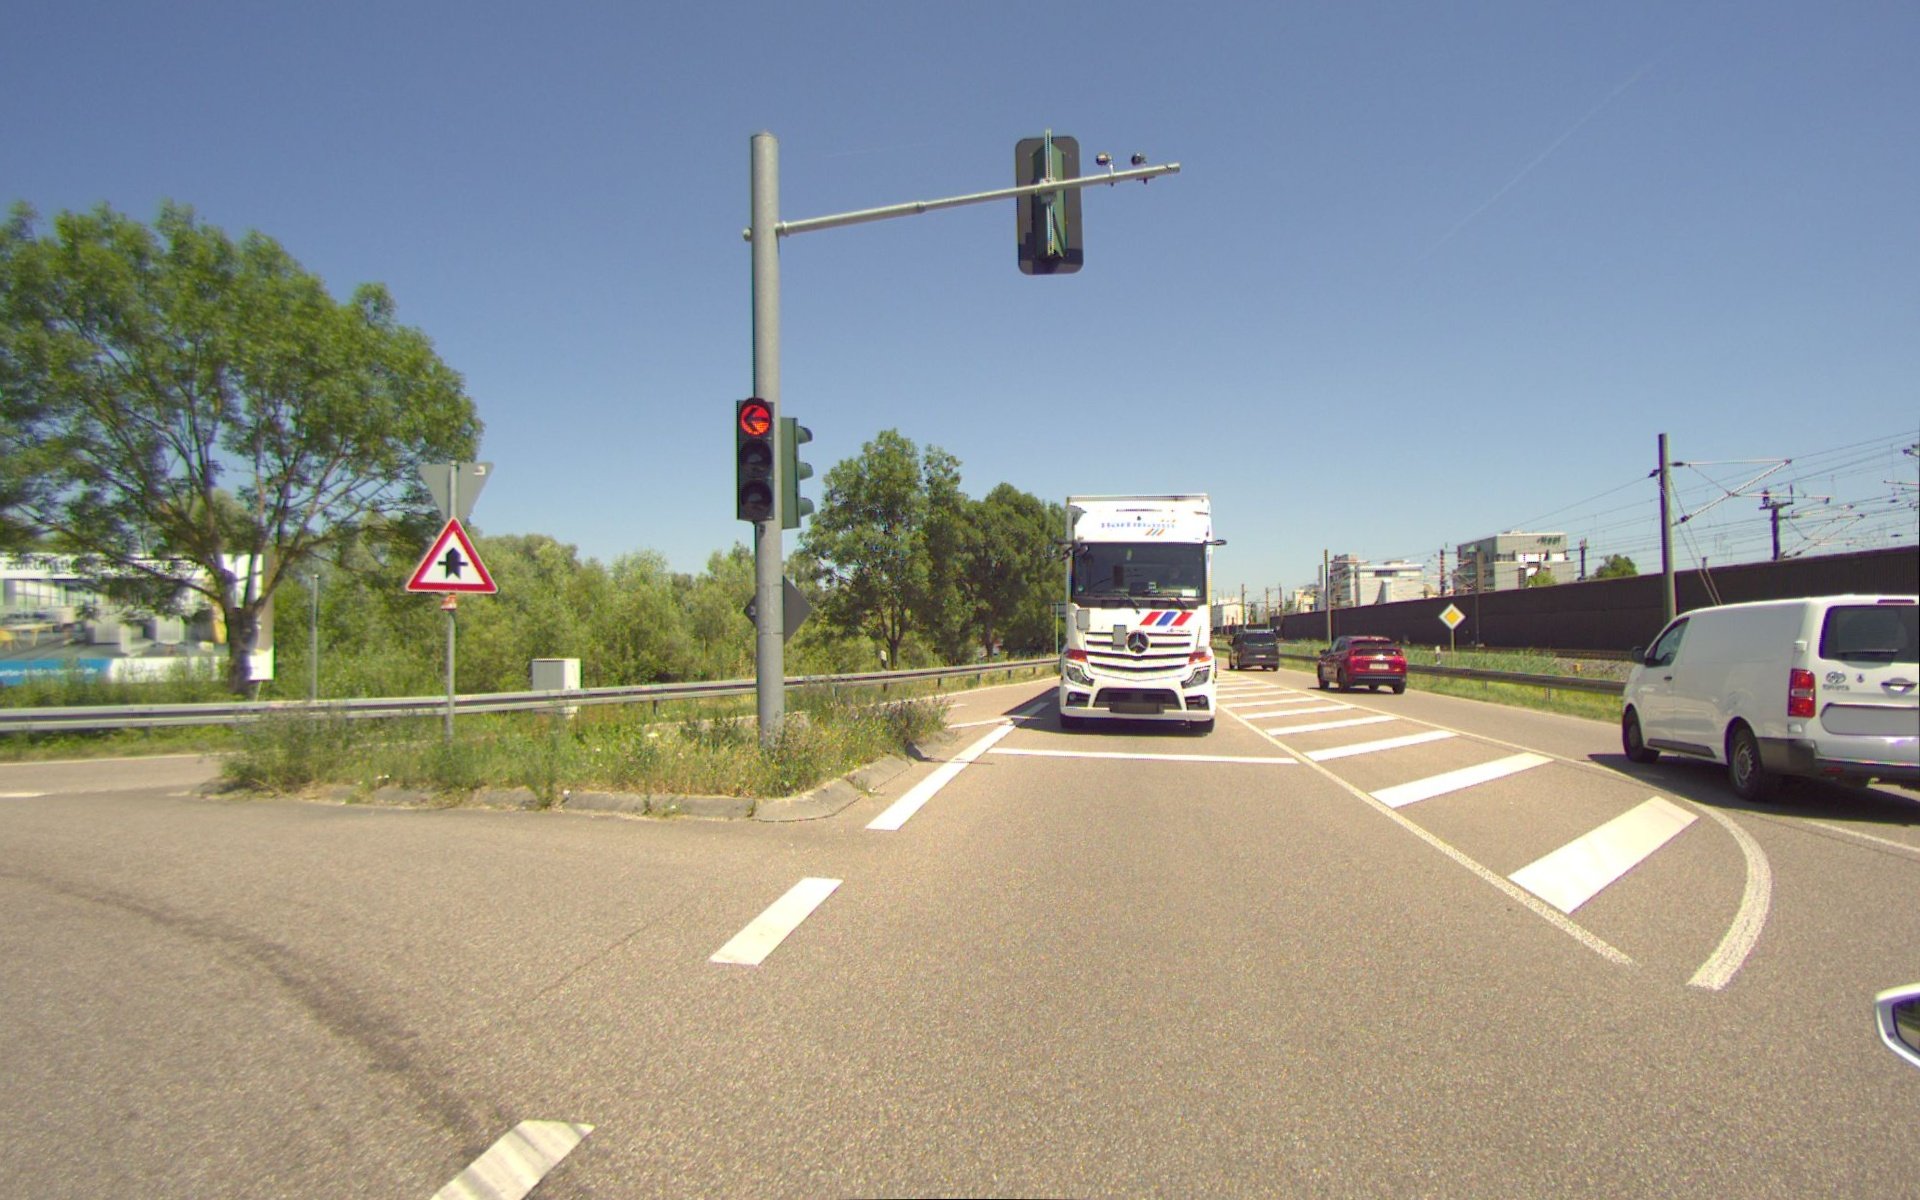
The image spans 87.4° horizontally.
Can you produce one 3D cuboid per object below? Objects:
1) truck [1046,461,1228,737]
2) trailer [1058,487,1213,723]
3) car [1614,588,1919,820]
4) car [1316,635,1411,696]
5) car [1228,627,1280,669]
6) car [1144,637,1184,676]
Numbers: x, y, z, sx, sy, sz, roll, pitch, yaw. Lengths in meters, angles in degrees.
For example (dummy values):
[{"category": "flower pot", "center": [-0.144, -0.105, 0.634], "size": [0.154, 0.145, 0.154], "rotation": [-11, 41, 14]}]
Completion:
[{"category": "truck", "center": [3.118, 0.077, 17.944], "size": [2.643, 4.098, 5.830], "rotation": [1, -2, 9]}, {"category": "trailer", "center": [4.221, 0.343, 24.648], "size": [2.643, 4.098, 14.136], "rotation": [1, -2, 9]}, {"category": "car", "center": [8.757, 0.987, 10.621], "size": [1.913, 1.906, 4.883], "rotation": [1, -3, 19]}, {"category": "car", "center": [12.170, 1.926, 30.531], "size": [1.873, 1.671, 4.144], "rotation": [1, -2, 10]}, {"category": "car", "center": [15.009, 2.413, 51.503], "size": [1.973, 2.049, 4.787], "rotation": [0, -2, 9]}, {"category": "car", "center": [8.825, 2.401, 43.341], "size": [1.596, 1.558, 4.387], "rotation": [-1, -2, 12]}]
